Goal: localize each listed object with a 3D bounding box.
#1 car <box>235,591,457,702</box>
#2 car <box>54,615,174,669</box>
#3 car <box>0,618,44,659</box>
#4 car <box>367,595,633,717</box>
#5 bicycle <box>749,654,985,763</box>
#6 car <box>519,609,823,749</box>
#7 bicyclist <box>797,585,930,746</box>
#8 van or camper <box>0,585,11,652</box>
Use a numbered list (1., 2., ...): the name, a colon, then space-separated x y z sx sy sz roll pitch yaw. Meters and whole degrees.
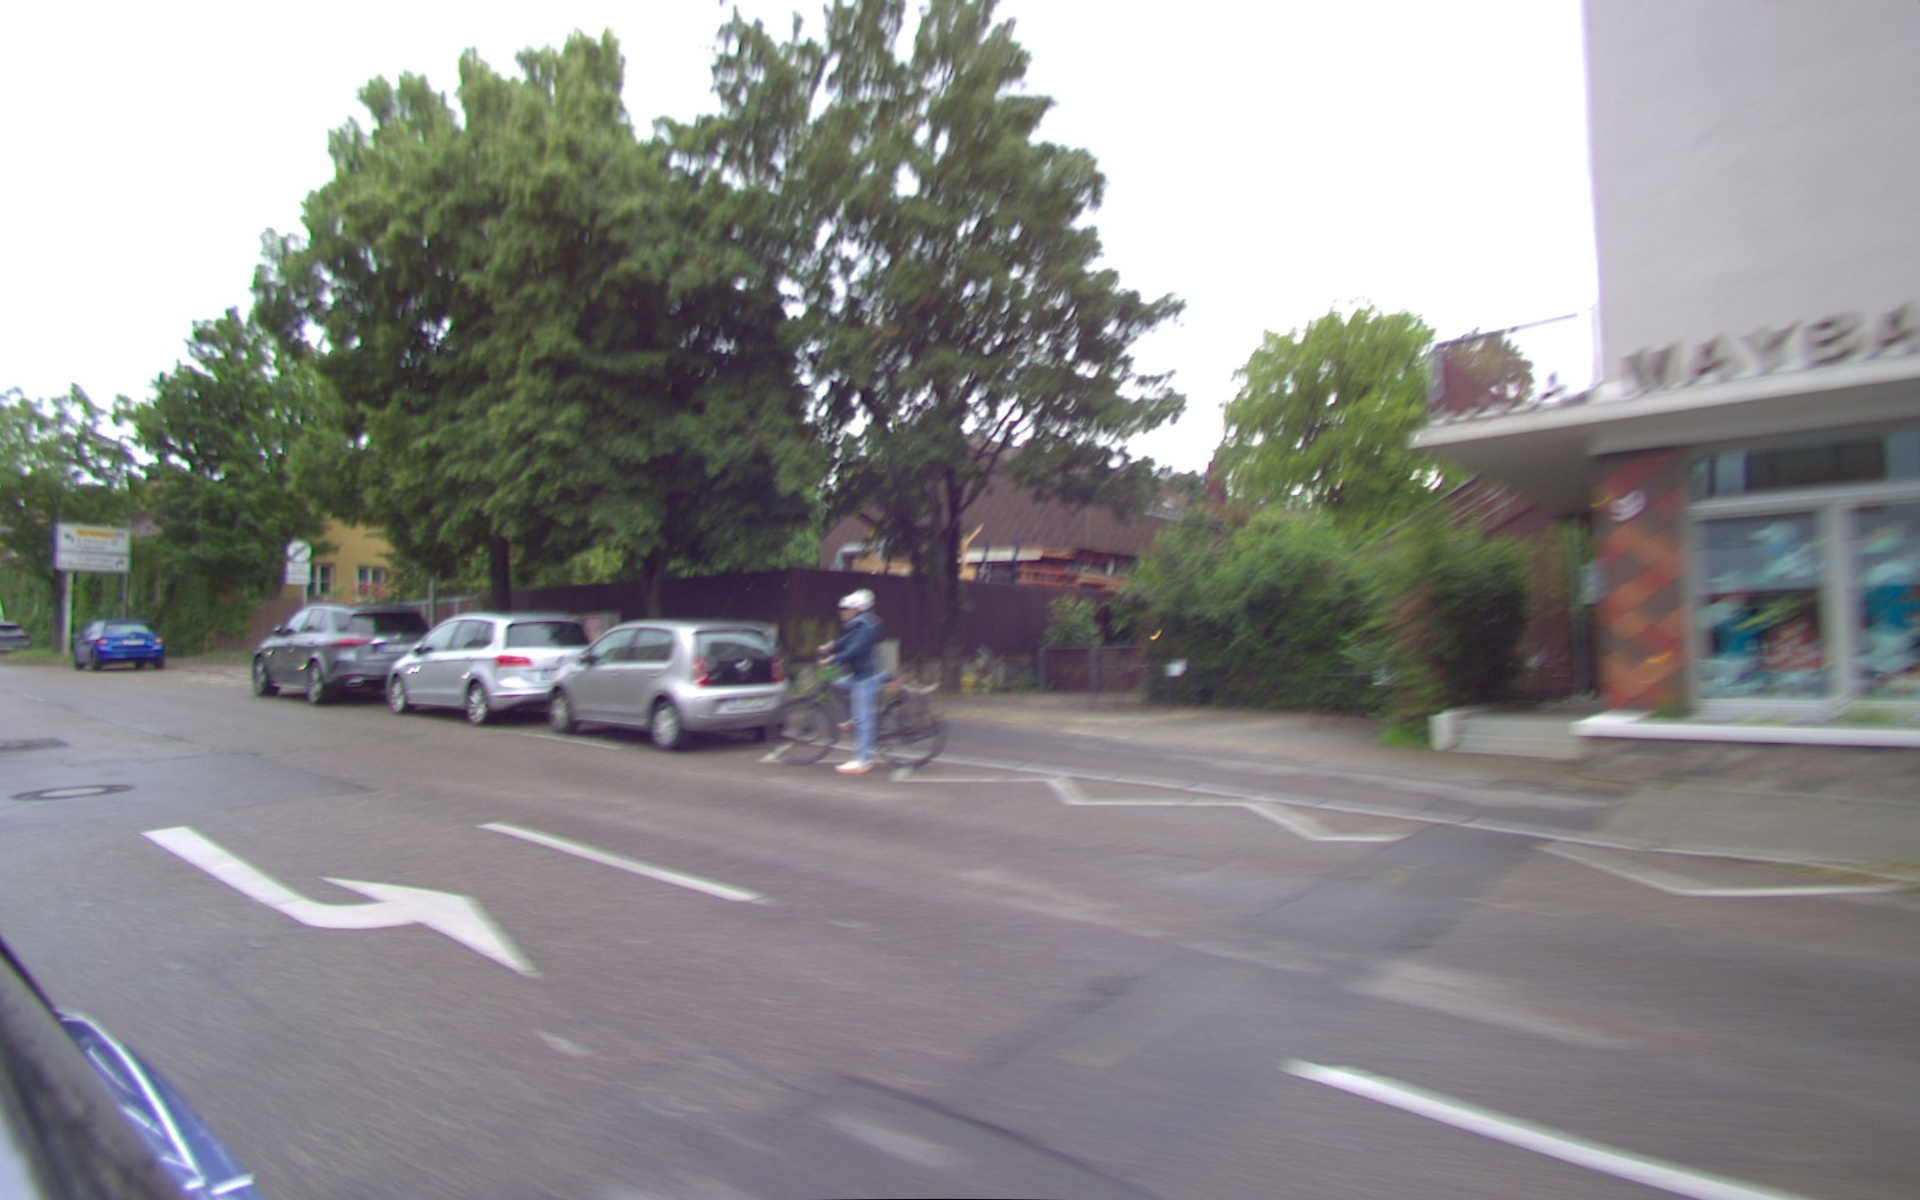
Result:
1. car: -11.610 0.796 18.959 5.407 1.800 1.973 -1 -1 41
2. car: -24.997 1.193 29.862 4.182 1.481 1.974 -1 -1 40
3. car: -37.513 1.474 39.305 4.413 1.524 1.976 -1 -1 36
4. car: -7.125 0.776 15.497 4.486 1.605 1.970 -1 -1 40
5. bicycle: -0.893 1.054 10.075 2.227 0.986 0.802 0 -1 7
6. car: -3.691 0.873 12.657 3.844 1.474 1.860 -1 -1 40
7. bicyclist: -0.936 0.633 10.093 1.187 1.534 0.802 0 -1 7
8. van or camper: -42.564 0.810 42.745 6.125 2.786 2.321 -2 -2 34
